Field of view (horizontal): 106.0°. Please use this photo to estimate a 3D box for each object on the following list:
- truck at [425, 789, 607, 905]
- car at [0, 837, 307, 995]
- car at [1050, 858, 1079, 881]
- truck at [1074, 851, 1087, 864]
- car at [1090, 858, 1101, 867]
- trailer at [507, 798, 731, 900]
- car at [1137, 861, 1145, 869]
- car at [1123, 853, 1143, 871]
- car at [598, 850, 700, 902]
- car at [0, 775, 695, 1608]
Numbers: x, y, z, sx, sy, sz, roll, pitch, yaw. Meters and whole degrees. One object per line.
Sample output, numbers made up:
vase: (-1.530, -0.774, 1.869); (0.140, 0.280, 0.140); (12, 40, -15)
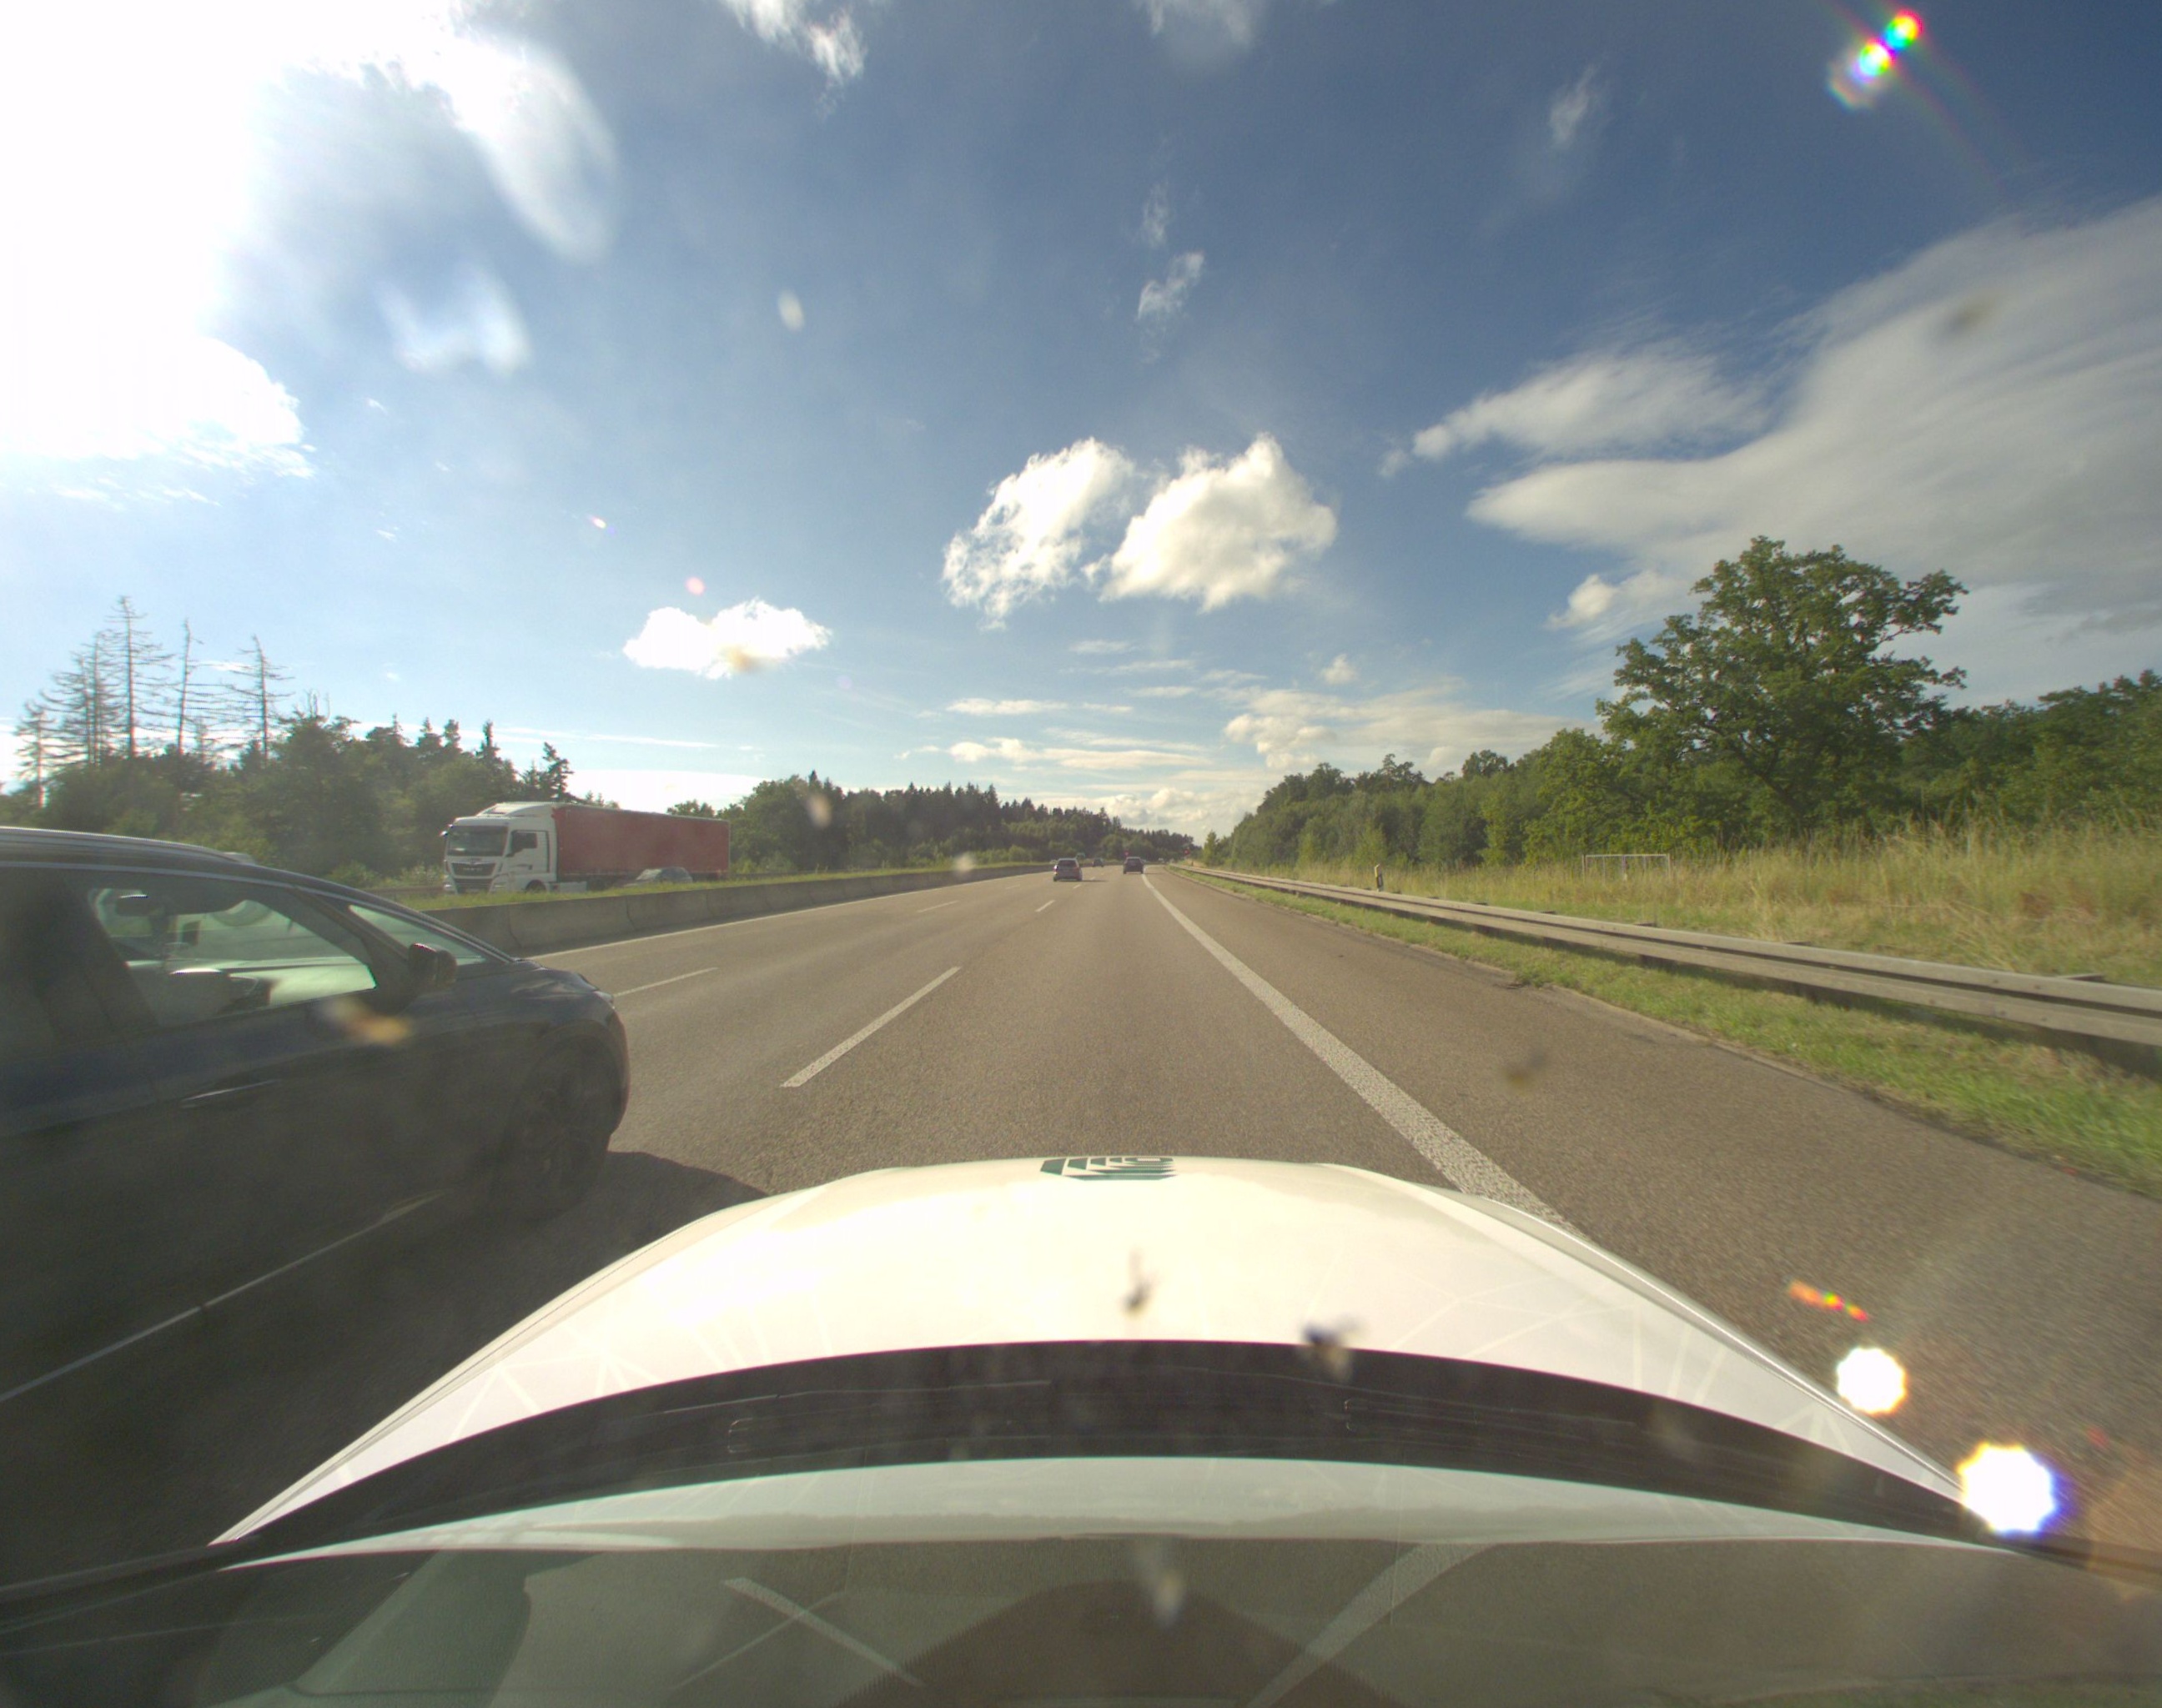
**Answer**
truck: (-21.863, -0.232, 31.968); (3.012, 4.109, 5.672); (-1, 0, 2)
car: (-14.684, 0.807, 12.164); (1.986, 2.014, 4.355); (-1, 0, 2)
car: (-1.090, 1.046, 55.653); (1.867, 1.497, 3.879); (-1, 0, 0)
truck: (-0.057, 1.031, 245.350); (3.359, 4.009, 5.872); (-1, -1, 5)
car: (2.678, 1.575, 149.346); (1.866, 1.497, 3.882); (-1, 0, 2)
trailer: (-21.498, -0.193, 39.434); (3.009, 4.109, 12.800); (-1, 0, 3)
car: (13.304, 2.493, 179.931); (1.803, 1.706, 4.006); (-1, 0, 5)
car: (5.046, 0.724, 78.808); (1.866, 1.675, 3.893); (-1, 0, 3)
car: (-17.974, 0.886, 34.119); (1.985, 2.014, 4.003); (-1, 0, 3)
car: (-3.203, 0.704, 2.280); (1.986, 1.707, 4.530); (-1, 0, 1)
